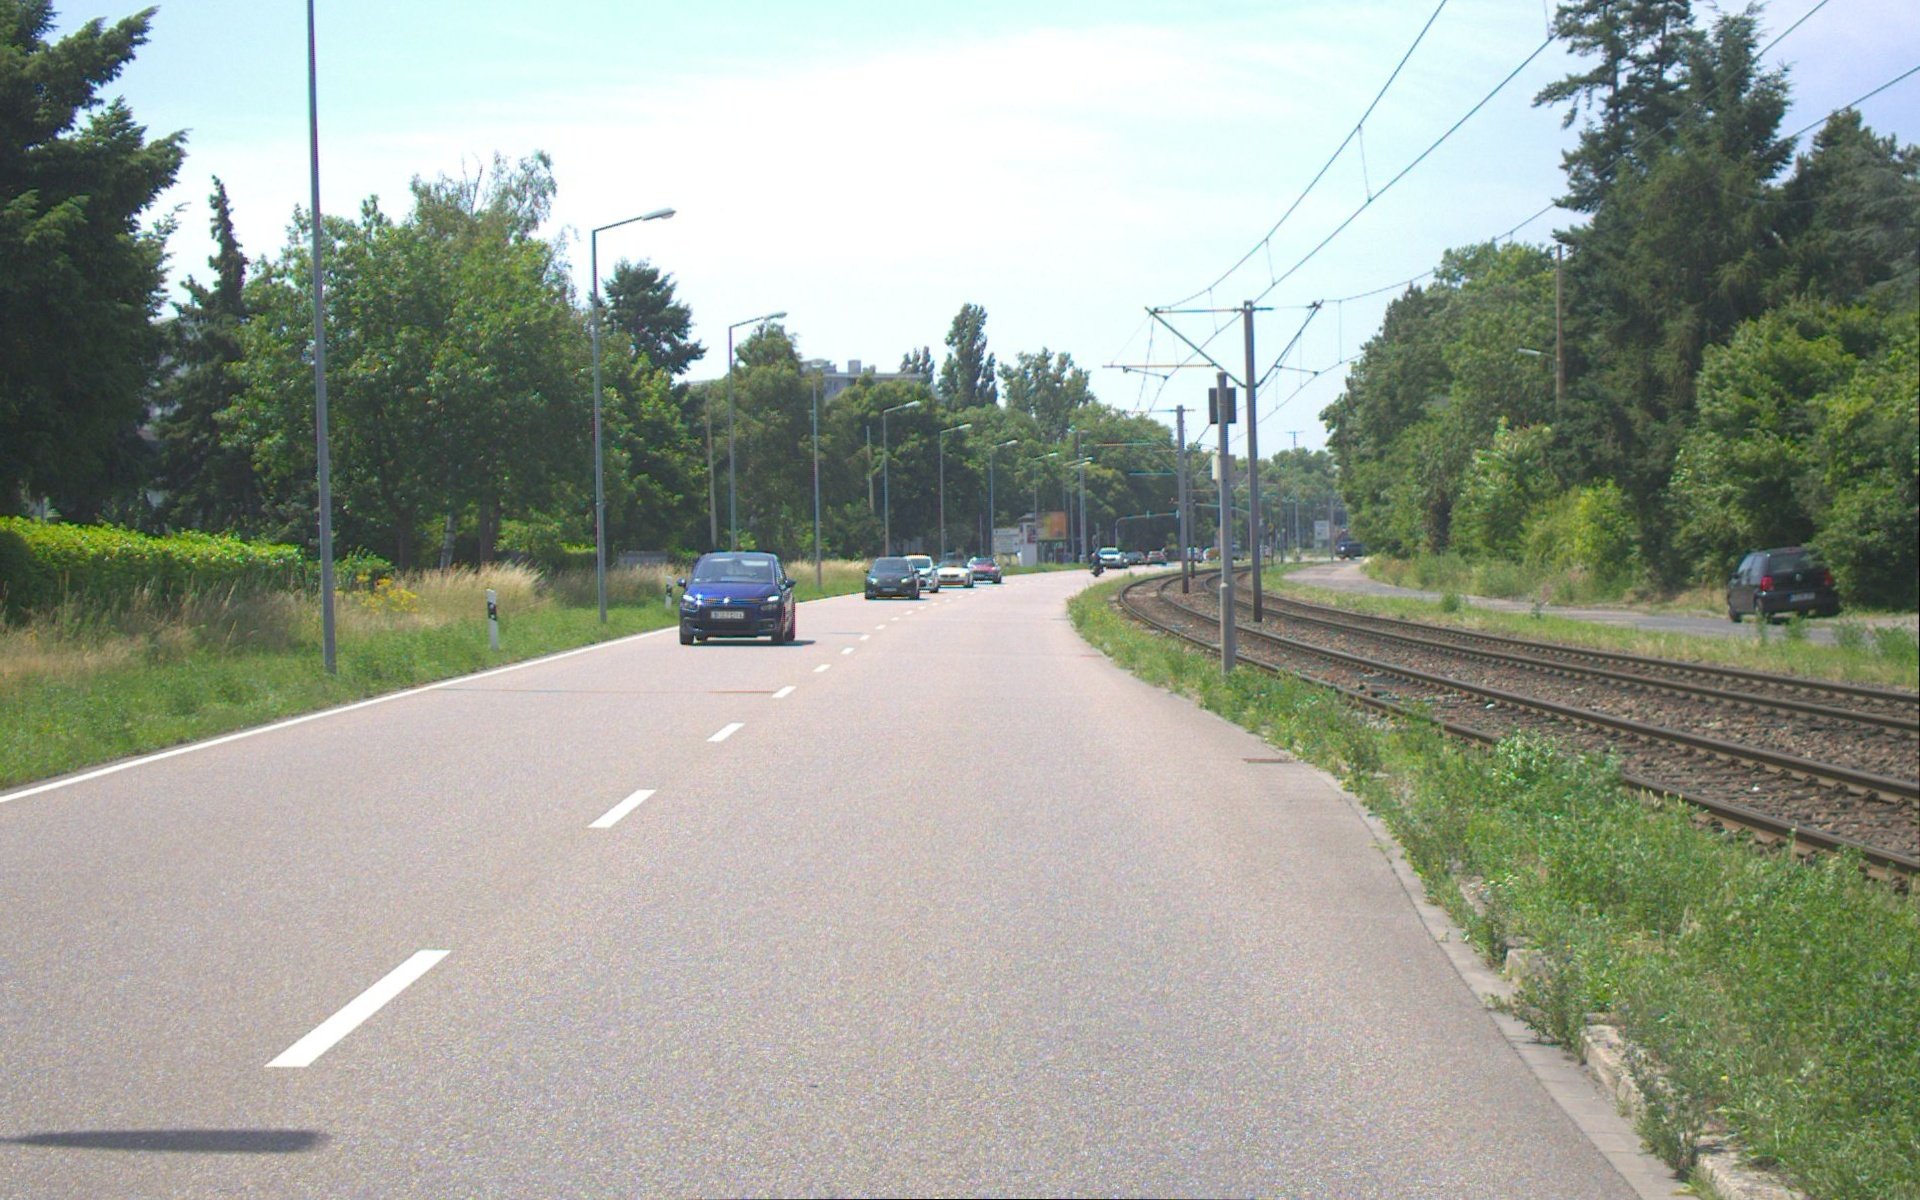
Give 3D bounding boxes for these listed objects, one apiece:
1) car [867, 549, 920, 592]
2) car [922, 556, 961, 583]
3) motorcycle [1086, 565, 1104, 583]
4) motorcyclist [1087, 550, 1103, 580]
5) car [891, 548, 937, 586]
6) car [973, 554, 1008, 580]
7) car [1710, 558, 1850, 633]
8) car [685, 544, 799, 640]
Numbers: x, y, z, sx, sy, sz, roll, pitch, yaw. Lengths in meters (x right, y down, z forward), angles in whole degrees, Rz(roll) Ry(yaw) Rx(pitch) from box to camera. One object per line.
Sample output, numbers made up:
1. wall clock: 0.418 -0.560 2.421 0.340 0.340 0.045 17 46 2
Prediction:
1. car: -2.324 -1.034 120.996 1.700 1.486 4.440 0 1 1
2. car: -0.818 -1.407 157.617 1.682 1.245 3.909 0 1 1
3. motorcycle: 8.364 -1.595 212.519 0.970 1.114 2.732 0 0 5
4. motorcyclist: 8.342 -2.168 212.513 0.892 1.898 1.015 0 0 5
5. car: -1.841 -1.315 138.403 1.747 1.498 3.707 0 0 1
6. car: 1.581 -1.704 175.935 1.749 1.296 4.253 0 1 1
7. car: 16.511 -0.103 69.411 1.914 1.465 4.000 0 0 1
8. car: -3.811 -0.155 60.624 1.747 1.626 4.030 0 0 0
